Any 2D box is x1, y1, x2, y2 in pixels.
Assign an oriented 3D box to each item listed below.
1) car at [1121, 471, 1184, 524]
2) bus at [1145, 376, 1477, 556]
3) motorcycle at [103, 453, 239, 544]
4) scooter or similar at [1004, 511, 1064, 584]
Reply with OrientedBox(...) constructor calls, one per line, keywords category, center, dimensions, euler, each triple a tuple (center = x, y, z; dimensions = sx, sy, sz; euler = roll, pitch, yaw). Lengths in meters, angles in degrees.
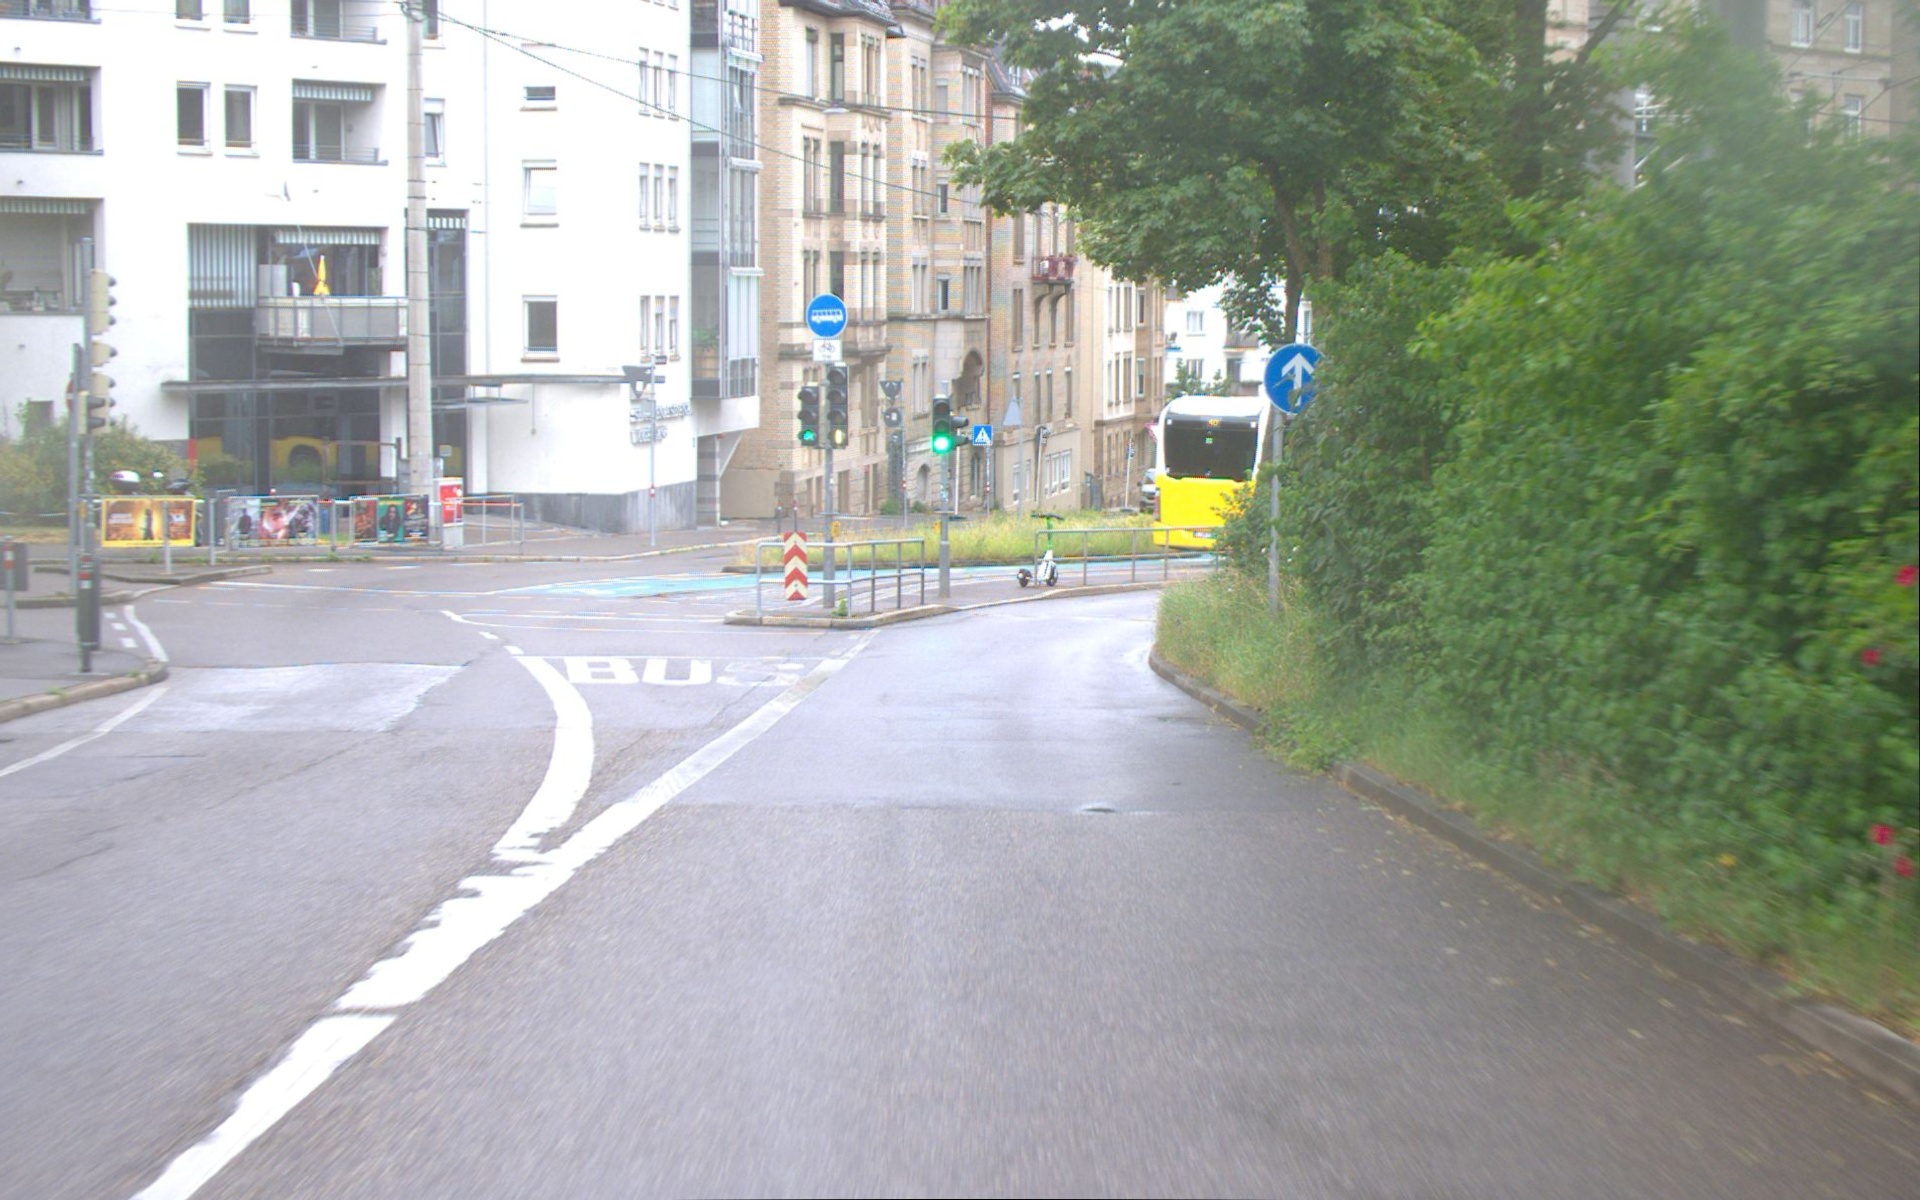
OrientedBox(category="car", center=(8.052, -4.292, 144.202), dimensions=(2.137, 2.129, 4.858), euler=(2, 2, -2))
OrientedBox(category="bus", center=(7.364, -2.691, 70.815), dimensions=(2.596, 3.457, 9.089), euler=(3, 2, 35))
OrientedBox(category="motorcycle", center=(-14.124, -1.813, 61.601), dimensions=(0.699, 1.545, 2.436), euler=(7, 5, 36))
OrientedBox(category="scooter or similar", center=(1.177, -0.841, 54.627), dimensions=(0.434, 1.109, 1.604), euler=(3, 3, 19))
